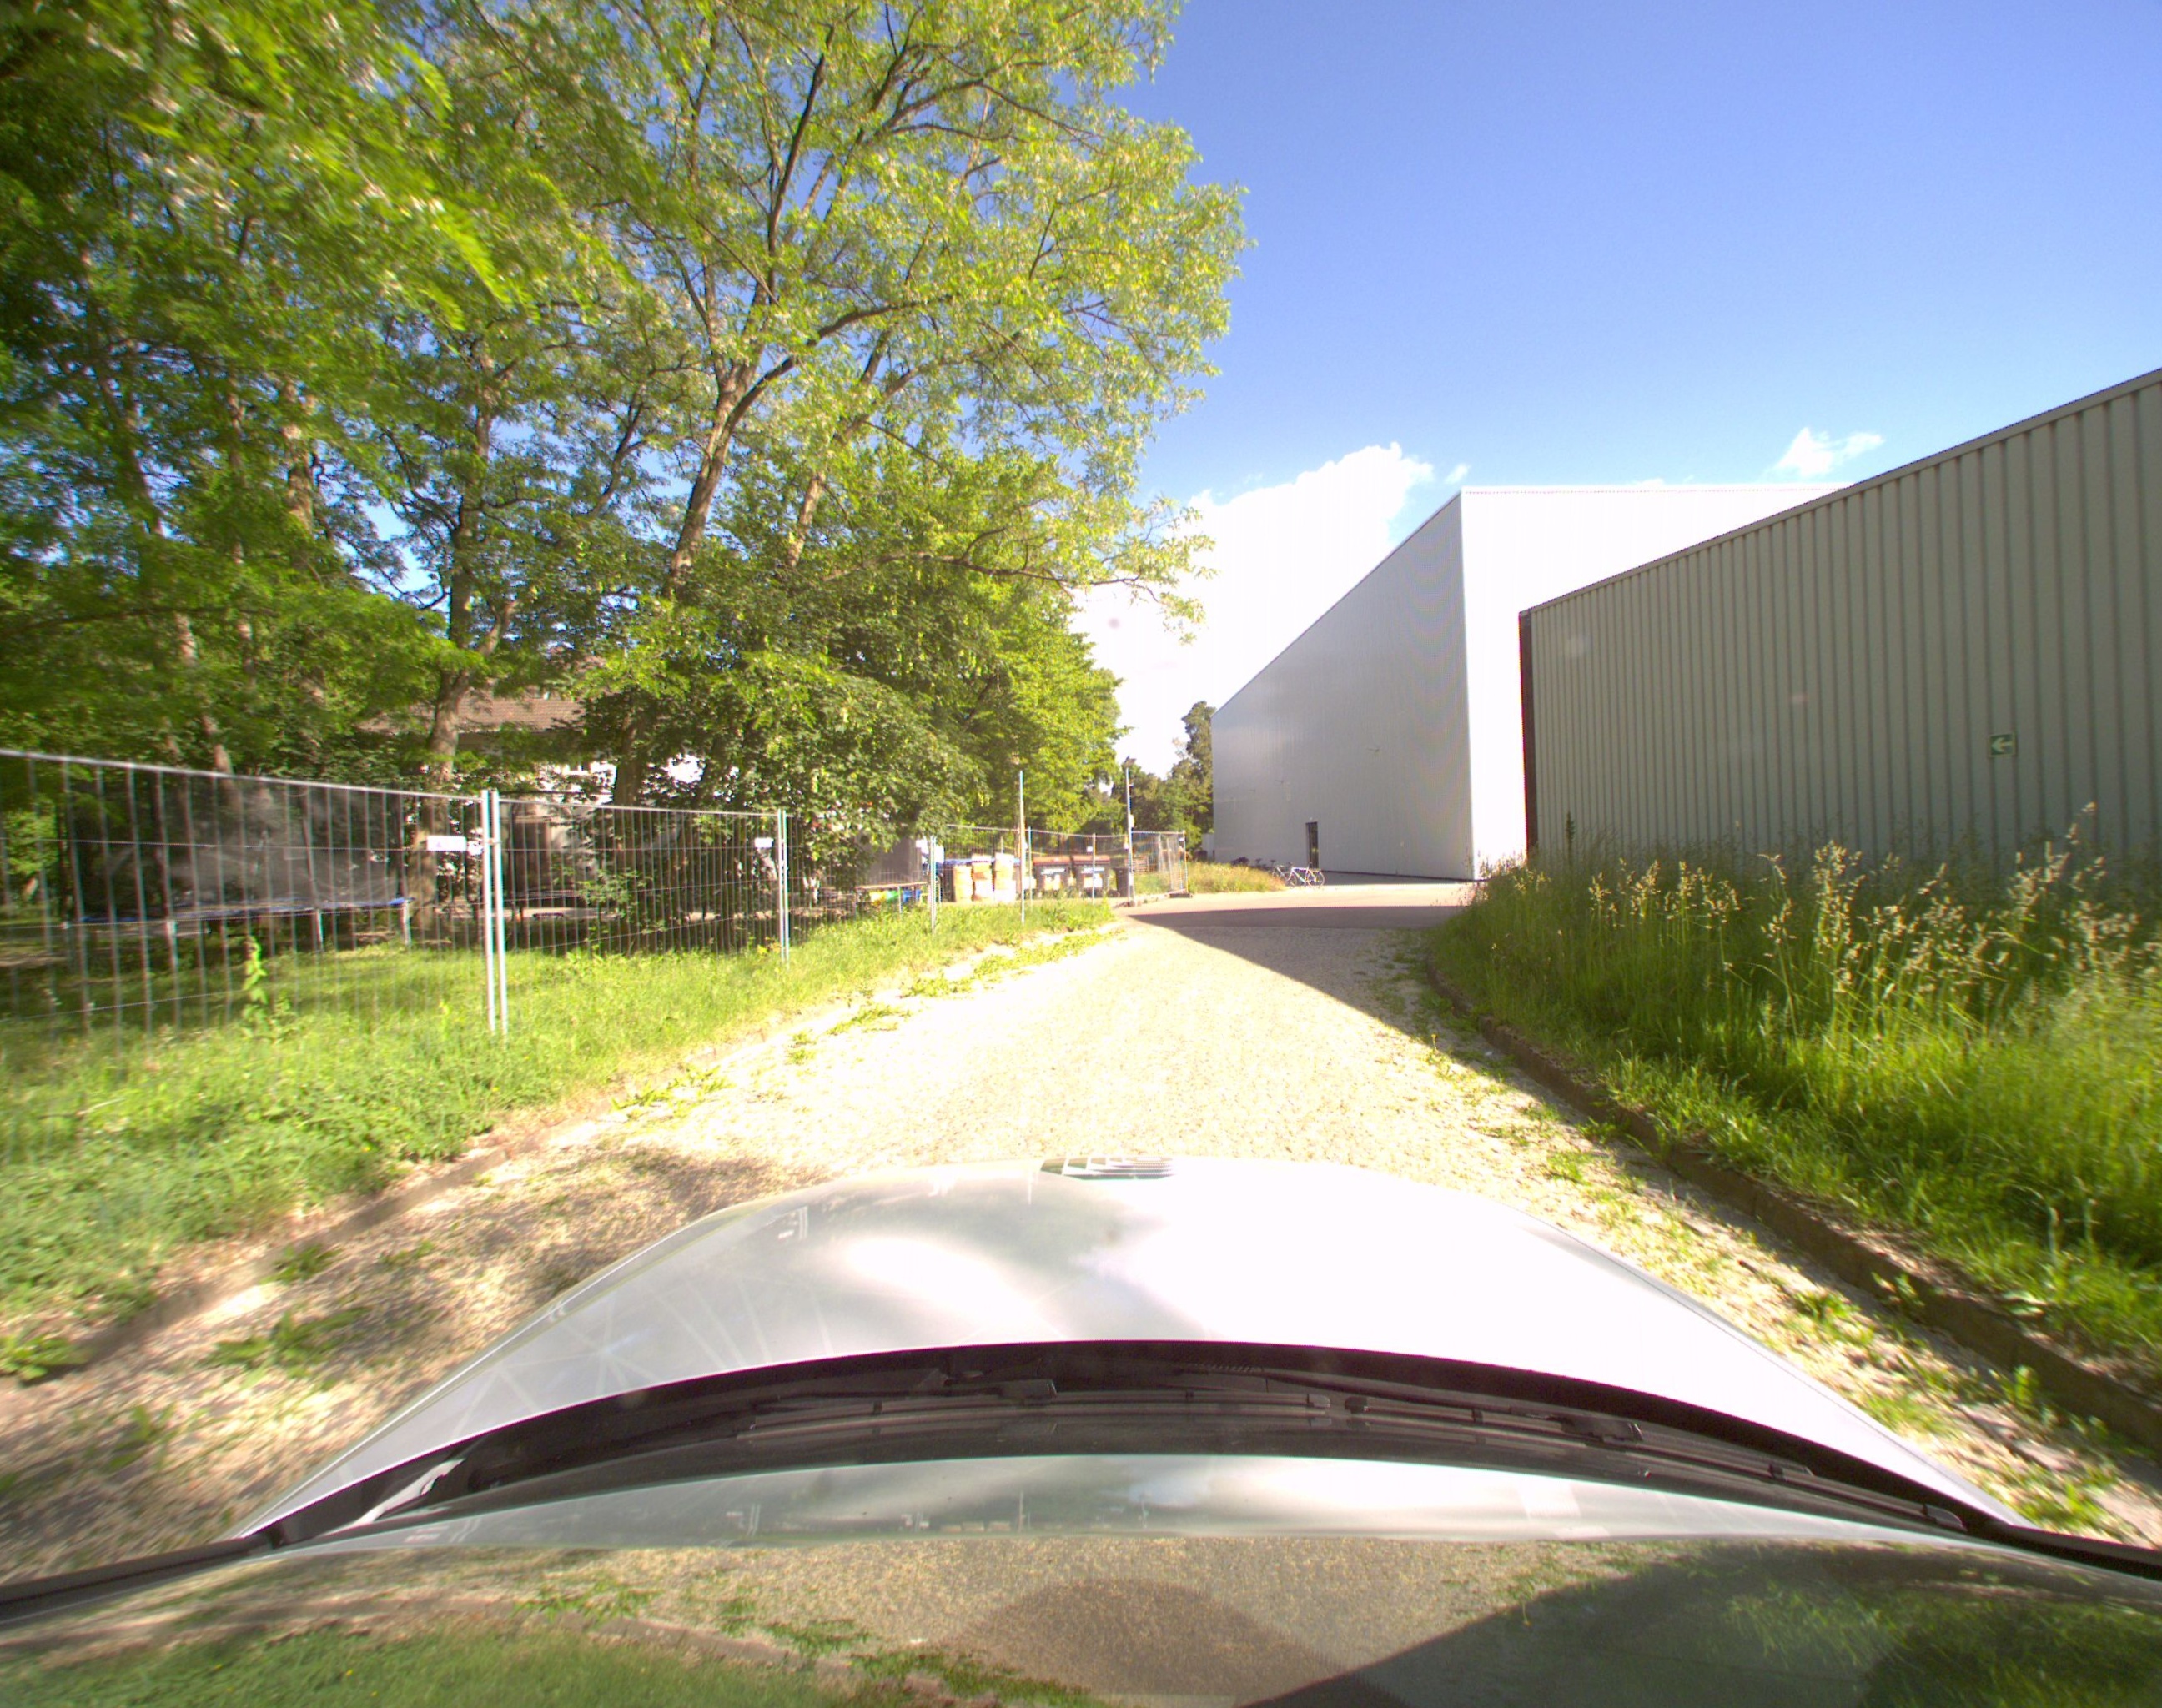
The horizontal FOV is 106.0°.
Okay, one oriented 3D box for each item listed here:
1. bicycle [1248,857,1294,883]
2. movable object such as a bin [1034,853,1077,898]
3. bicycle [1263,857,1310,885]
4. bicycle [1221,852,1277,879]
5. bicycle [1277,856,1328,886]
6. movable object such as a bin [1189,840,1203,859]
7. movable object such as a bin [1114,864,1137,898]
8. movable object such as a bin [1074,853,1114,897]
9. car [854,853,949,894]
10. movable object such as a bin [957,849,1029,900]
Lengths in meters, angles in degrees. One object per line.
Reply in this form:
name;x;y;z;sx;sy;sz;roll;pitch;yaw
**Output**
bicycle;8.365;0.701;35.925;1.884;1.095;0.525;-2;-1;-4
movable object such as a bin;-0.886;0.718;27.595;1.337;1.484;0.804;-2;0;-9
bicycle;8.413;0.696;33.374;1.786;1.082;0.524;-2;0;-1
bicycle;8.530;0.590;41.557;2.620;1.266;1.141;-2;0;2
bicycle;8.388;0.633;30.802;1.798;1.062;0.458;-2;0;-7
movable object such as a bin;12.372;-0.458;87.663;1.413;2.013;1.126;-2;0;2
movable object such as a bin;1.507;0.890;27.522;0.733;1.097;0.819;-2;0;2
movable object such as a bin;0.447;0.702;27.691;1.244;1.444;0.701;-2;0;-8
car;-9.648;1.053;44.118;4.705;1.902;1.995;-3;-1;-7
movable object such as a bin;-2.943;0.680;27.209;2.287;1.591;1.171;-2;0;-8
